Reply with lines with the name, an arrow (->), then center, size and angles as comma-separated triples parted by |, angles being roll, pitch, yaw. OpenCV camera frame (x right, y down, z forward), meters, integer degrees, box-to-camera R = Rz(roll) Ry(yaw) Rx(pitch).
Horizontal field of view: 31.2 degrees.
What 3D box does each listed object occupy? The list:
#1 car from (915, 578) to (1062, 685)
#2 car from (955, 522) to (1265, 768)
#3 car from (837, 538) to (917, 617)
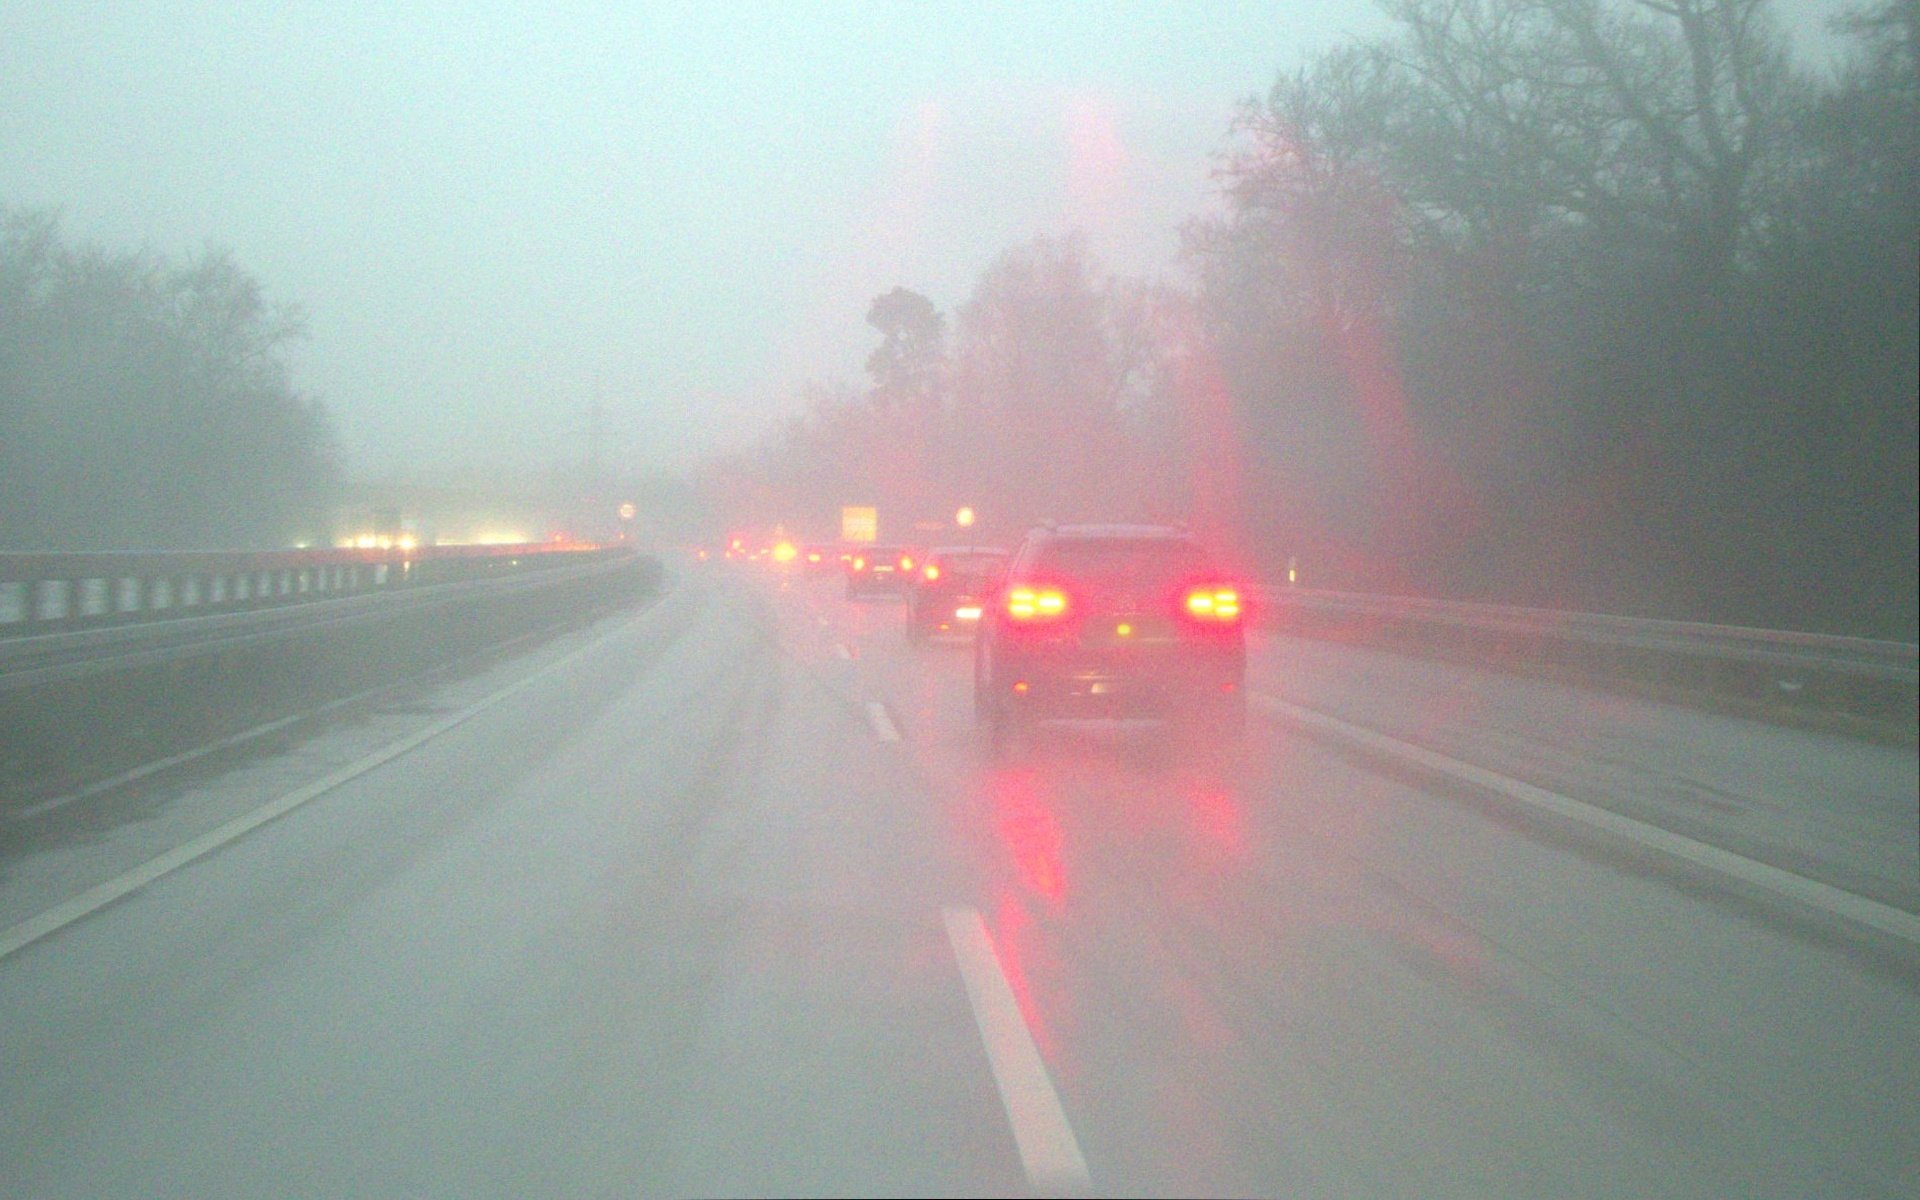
car -> 0.376, 0.433, 50.496 | 1.993, 1.415, 4.000 | 3, 0, -1
car -> 1.053, 0.294, 26.123 | 1.992, 1.709, 3.830 | 1, 1, -3
car -> -2.170, -0.599, 89.537 | 1.993, 2.007, 4.000 | 1, 1, -2
